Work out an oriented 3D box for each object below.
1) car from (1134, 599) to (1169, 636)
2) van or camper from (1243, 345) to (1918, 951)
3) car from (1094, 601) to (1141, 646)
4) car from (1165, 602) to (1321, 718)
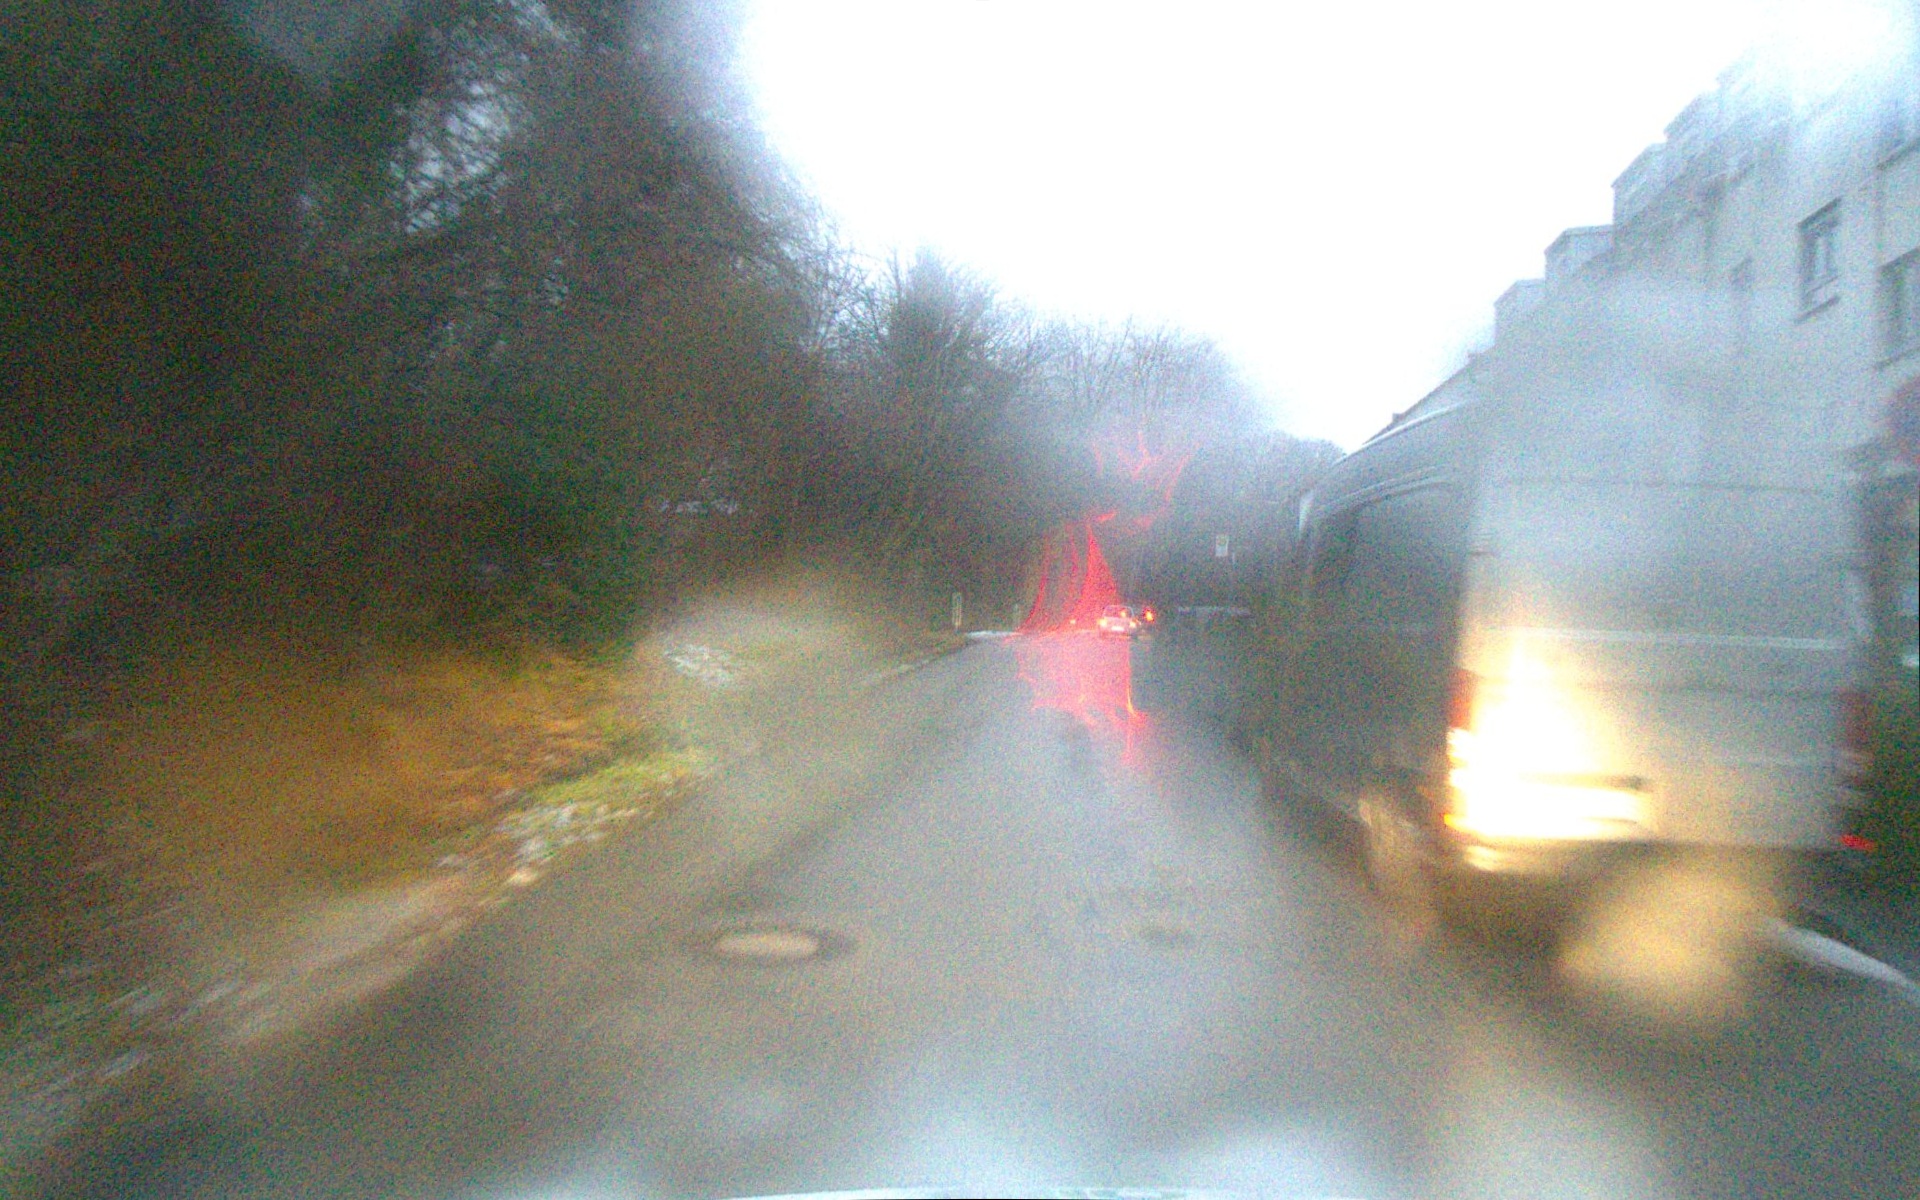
[{"bbox_3d":[9.694,0.868,83.853,1.654,1.805,3.863,2,0,6],"label":"car"},{"bbox_3d":[3.257,0.195,10.544,1.972,2.551,6.795,2,0,3],"label":"van or camper"},{"bbox_3d":[6.747,0.987,70.770,1.892,1.812,4.002,2,0,5],"label":"car"},{"bbox_3d":[3.863,0.778,23.184,1.621,1.414,4.534,2,0,3],"label":"car"}]
